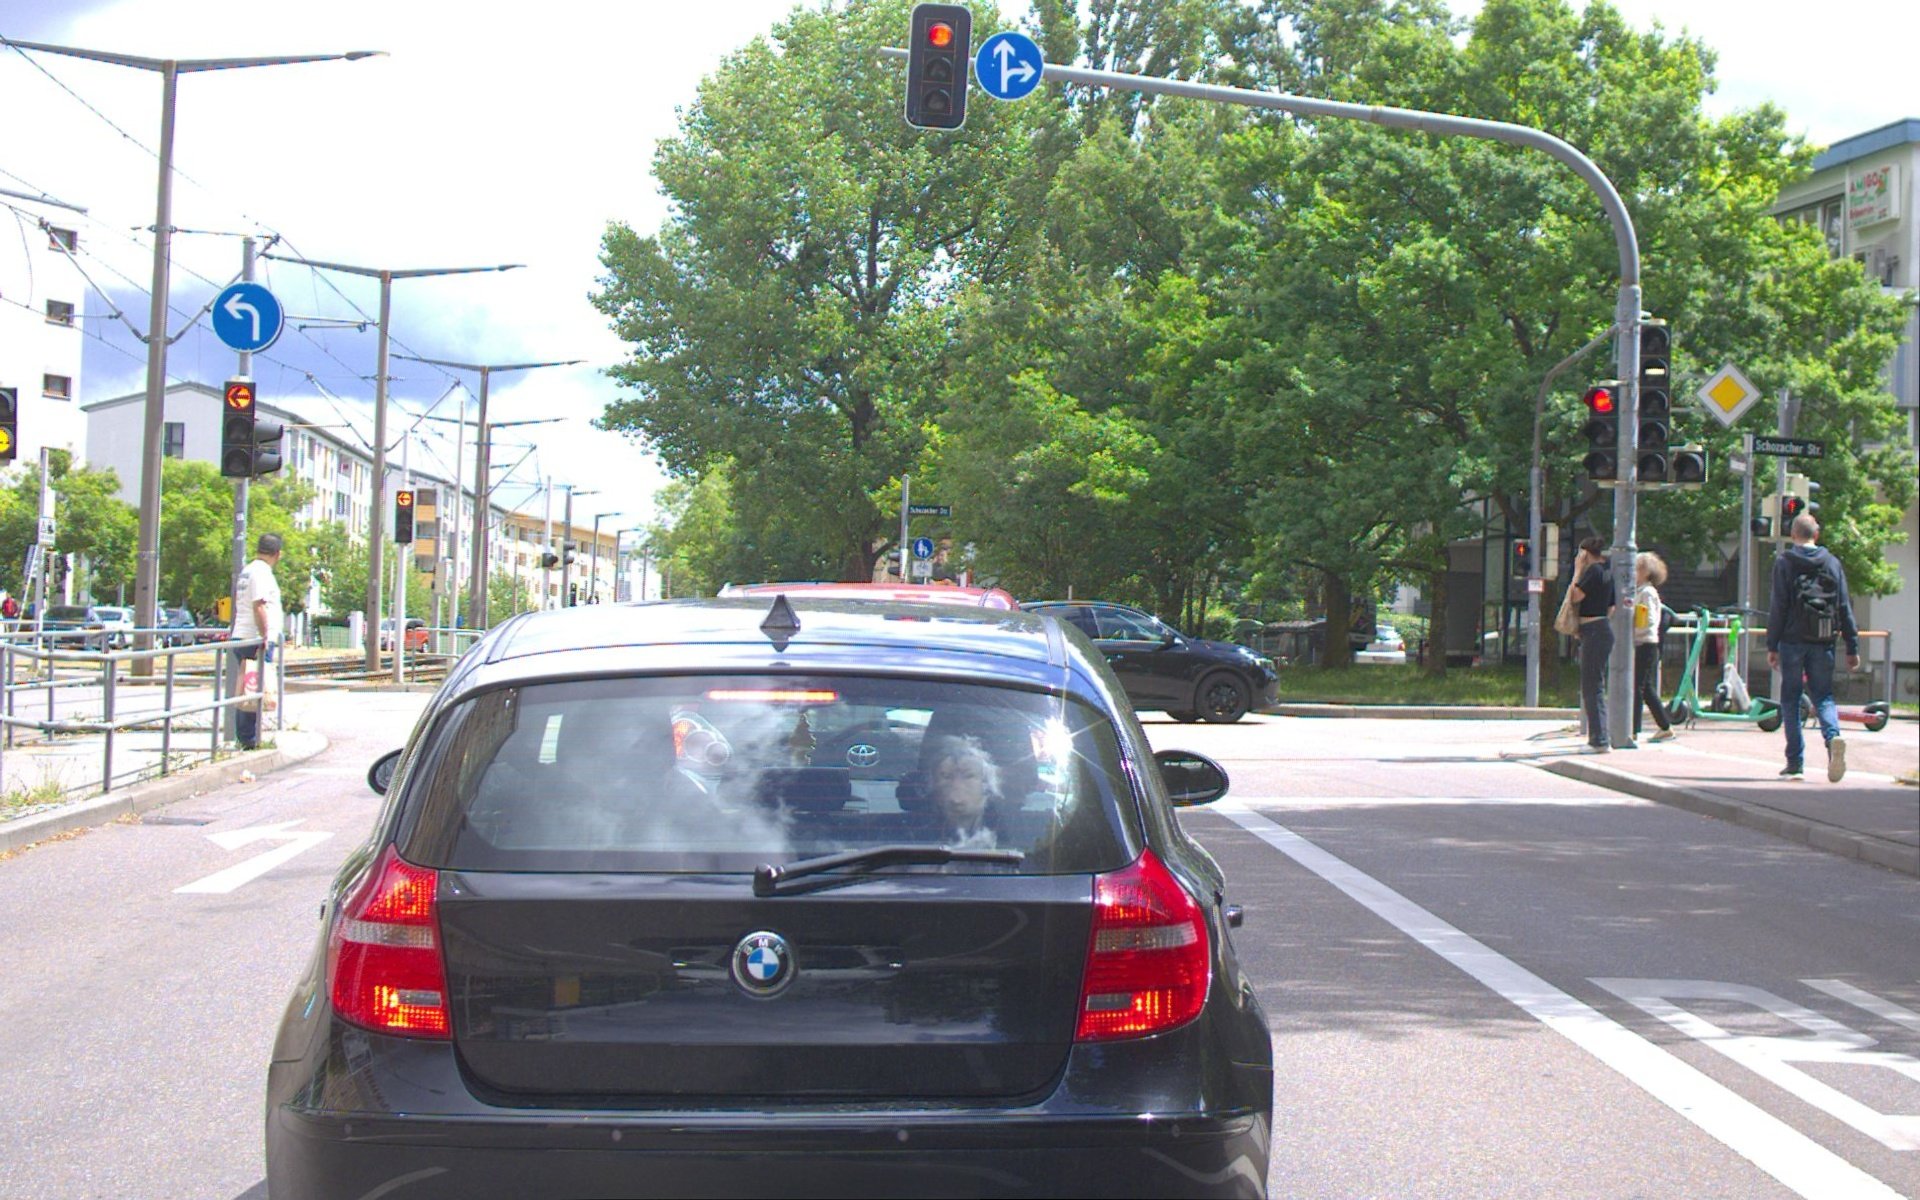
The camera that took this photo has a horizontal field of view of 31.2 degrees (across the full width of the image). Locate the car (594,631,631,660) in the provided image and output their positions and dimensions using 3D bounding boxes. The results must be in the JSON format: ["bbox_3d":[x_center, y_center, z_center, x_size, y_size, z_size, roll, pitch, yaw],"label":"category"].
[{"bbox_3d":[-19.557,2.553,193.345,1.651,1.529,3.873,1,0,-12],"label":"car"}]

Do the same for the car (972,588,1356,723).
[{"bbox_3d":[2.333,0.636,39.519,3.986,1.481,1.848,1,0,-18],"label":"car"}]

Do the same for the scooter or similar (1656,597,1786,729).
[{"bbox_3d":[7.278,0.595,32.892,1.110,1.231,0.539,1,0,2],"label":"scooter or similar"}]

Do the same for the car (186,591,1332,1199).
[{"bbox_3d":[-0.323,0.704,6.852,1.700,1.395,3.420,1,0,-1],"label":"car"}]

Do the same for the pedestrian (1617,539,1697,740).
[{"bbox_3d":[6.188,0.342,30.543,0.636,1.760,0.518,1,0,8],"label":"pedestrian"}]

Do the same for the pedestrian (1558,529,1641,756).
[{"bbox_3d":[5.356,0.348,28.799,0.636,1.870,0.518,1,0,8],"label":"pedestrian"}]

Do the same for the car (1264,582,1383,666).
[{"bbox_3d":[8.396,0.540,79.707,1.726,1.865,4.001,1,0,-9],"label":"car"}]

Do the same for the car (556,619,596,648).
[{"bbox_3d":[-20.101,1.750,180.005,1.794,1.405,4.000,1,0,-3],"label":"car"}]

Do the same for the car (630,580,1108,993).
[{"bbox_3d":[-0.335,0.638,13.633,1.638,1.395,3.420,1,0,-1],"label":"car"}]

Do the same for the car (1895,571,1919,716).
[{"bbox_3d":[15.595,0.614,47.896,4.534,2.007,2.000,0,0,-8],"label":"car"}]

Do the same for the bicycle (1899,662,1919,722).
[{"bbox_3d":[10.538,0.971,35.471,1.587,0.608,0.534,2,1,20],"label":"bicycle"}]

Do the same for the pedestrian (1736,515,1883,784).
[{"bbox_3d":[6.034,0.341,24.460,0.795,1.870,1.013,1,0,1],"label":"pedestrian"}]

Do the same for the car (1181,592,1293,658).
[{"bbox_3d":[7.275,0.653,90.684,1.862,1.656,4.001,1,0,-11],"label":"car"}]

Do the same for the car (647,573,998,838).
[{"bbox_3d":[-0.776,0.559,21.102,1.900,1.417,4.539,1,0,-1],"label":"car"}]

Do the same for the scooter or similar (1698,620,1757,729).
[{"bbox_3d":[7.794,0.742,34.901,0.548,1.060,1.261,1,0,13],"label":"scooter or similar"}]

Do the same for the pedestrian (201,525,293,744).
[{"bbox_3d":[-5.725,0.273,27.631,0.687,1.728,0.688,1,0,-9],"label":"pedestrian"}]

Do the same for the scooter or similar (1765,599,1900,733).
[{"bbox_3d":[8.582,0.645,33.856,1.150,1.268,0.555,2,0,2],"label":"scooter or similar"}]

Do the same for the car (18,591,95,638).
[{"bbox_3d":[-29.390,0.450,111.919,1.591,1.469,3.775,1,0,-2],"label":"car"}]
